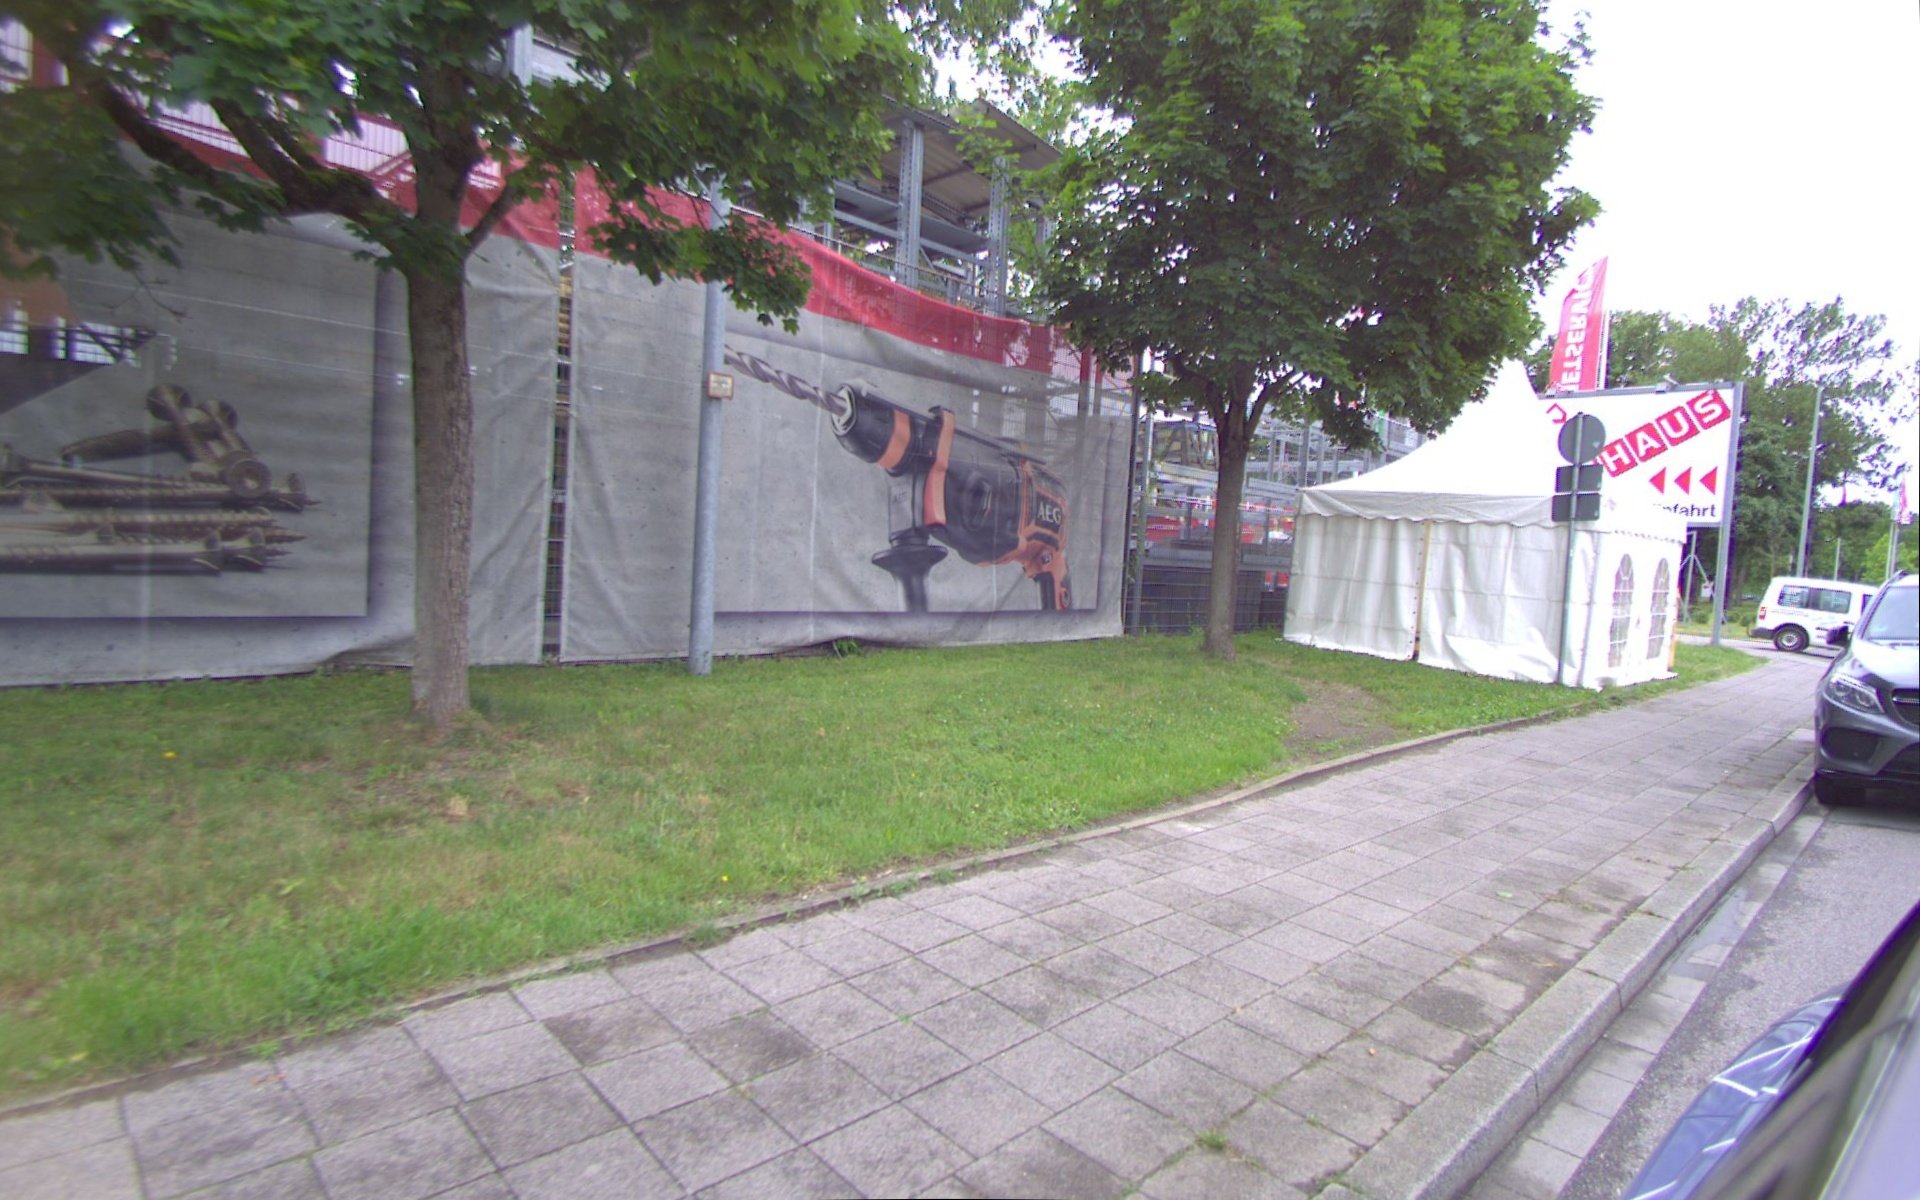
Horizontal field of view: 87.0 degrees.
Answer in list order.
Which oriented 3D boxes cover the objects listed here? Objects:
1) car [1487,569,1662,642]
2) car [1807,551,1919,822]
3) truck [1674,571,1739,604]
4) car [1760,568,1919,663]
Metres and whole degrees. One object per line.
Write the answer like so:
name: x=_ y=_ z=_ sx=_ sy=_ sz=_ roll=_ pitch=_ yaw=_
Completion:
car: x=15.621 y=0.086 z=25.780 sx=3.668 sy=1.603 sz=1.754 roll=4 pitch=3 yaw=36
car: x=8.121 y=0.574 z=7.829 sx=4.405 sy=1.762 sz=1.910 roll=0 pitch=1 yaw=-44
truck: x=63.045 y=-1.060 z=85.511 sx=3.921 sy=2.425 sz=2.003 roll=3 pitch=3 yaw=-4
car: x=21.679 y=0.406 z=23.645 sx=1.771 sy=1.828 sz=4.376 roll=0 pitch=7 yaw=-45
